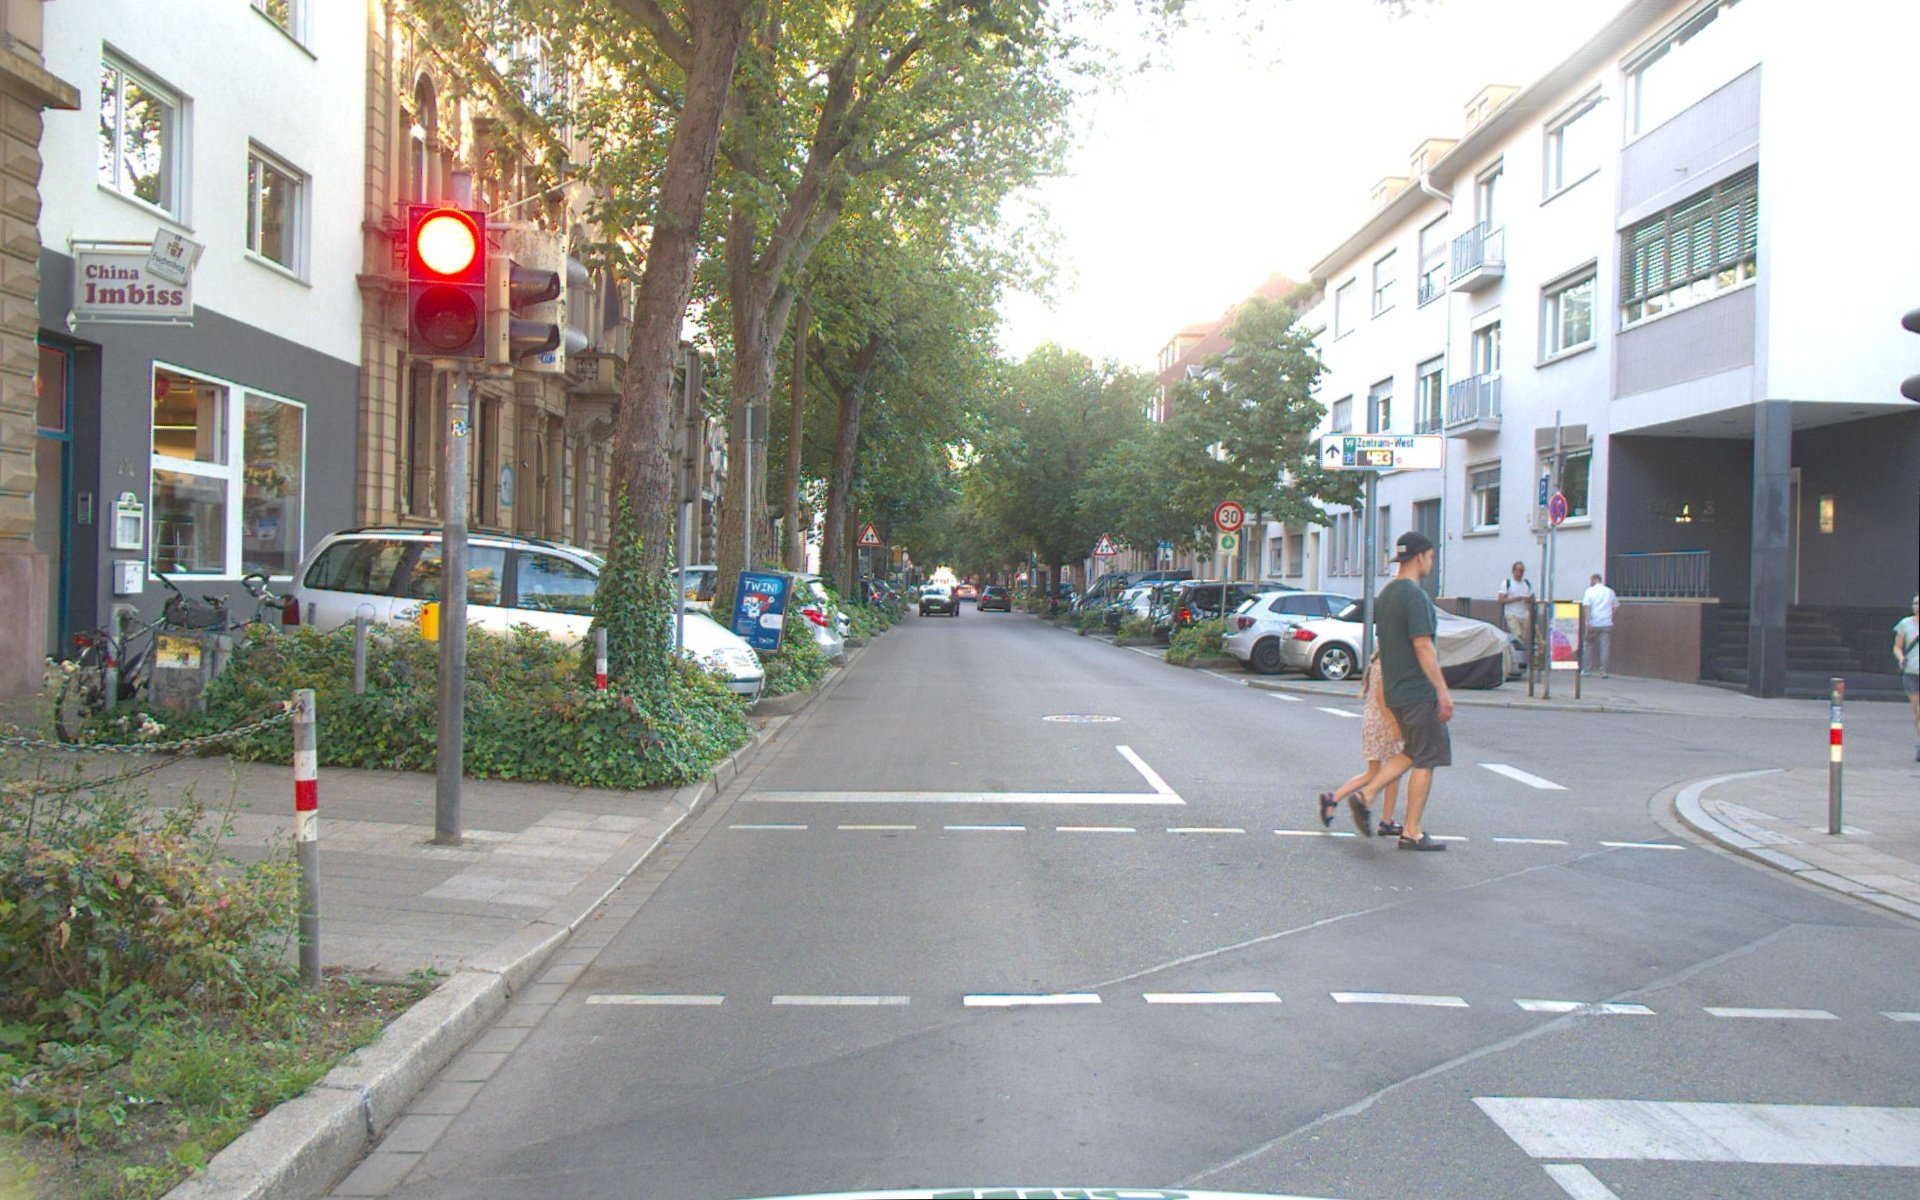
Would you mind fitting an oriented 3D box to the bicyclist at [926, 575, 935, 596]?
[{"bbox_3d":[-2.226,-1.069,123.431,0.560,1.495,0.642,2,0,-7],"label":"bicyclist"}]

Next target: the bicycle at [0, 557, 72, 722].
[{"bbox_3d":[-7.460,0.293,11.976,0.623,1.222,2.564,1,1,1],"label":"bicycle"}]

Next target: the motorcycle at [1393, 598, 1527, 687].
[{"bbox_3d":[7.154,0.598,23.716,1.761,1.220,0.613,1,0,8],"label":"motorcycle"}]

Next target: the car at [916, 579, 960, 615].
[{"bbox_3d":[-1.018,-0.167,79.044,1.864,1.605,3.992,2,0,2],"label":"car"}]

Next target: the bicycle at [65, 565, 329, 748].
[{"bbox_3d":[-5.666,0.366,12.513,0.719,1.207,2.634,3,1,0],"label":"bicycle"}]

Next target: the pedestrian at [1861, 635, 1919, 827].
[{"bbox_3d":[6.181,0.814,10.290,0.817,1.140,0.567,2,1,5],"label":"pedestrian"}]

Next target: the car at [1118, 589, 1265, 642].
[{"bbox_3d":[6.572,0.442,47.200,3.933,1.434,1.707,1,0,-1],"label":"car"}]

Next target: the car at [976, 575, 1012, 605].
[{"bbox_3d":[1.906,-0.571,93.825,1.788,1.588,4.026,2,1,-2],"label":"car"}]

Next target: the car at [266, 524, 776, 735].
[{"bbox_3d":[-4.086,0.268,16.011,4.457,1.867,1.832,1,0,-4],"label":"car"}]

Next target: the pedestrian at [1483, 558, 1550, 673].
[{"bbox_3d":[9.315,0.240,27.715,0.751,1.873,0.943,2,1,0],"label":"pedestrian"}]

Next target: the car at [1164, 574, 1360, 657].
[{"bbox_3d":[6.532,0.321,35.983,3.933,1.720,1.707,1,0,-1],"label":"car"}]

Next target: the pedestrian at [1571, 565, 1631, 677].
[{"bbox_3d":[10.511,0.336,27.137,0.689,1.782,0.700,2,1,3],"label":"pedestrian"}]

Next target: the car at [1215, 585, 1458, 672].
[{"bbox_3d":[6.667,0.483,29.558,3.933,1.467,1.707,1,0,-1],"label":"car"}]

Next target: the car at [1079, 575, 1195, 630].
[{"bbox_3d":[6.357,0.079,59.698,3.933,1.862,1.707,1,0,-1],"label":"car"}]

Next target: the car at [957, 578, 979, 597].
[{"bbox_3d":[0.678,-1.118,147.732,1.885,1.689,3.999,1,1,-1],"label":"car"}]

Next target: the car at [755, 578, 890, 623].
[{"bbox_3d":[-4.646,0.012,56.358,4.455,1.434,1.833,1,0,0],"label":"car"}]

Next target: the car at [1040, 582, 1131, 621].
[{"bbox_3d":[5.640,0.060,74.680,3.933,1.629,1.707,1,0,-1],"label":"car"}]

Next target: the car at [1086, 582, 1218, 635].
[{"bbox_3d":[6.050,0.257,52.384,3.933,1.556,1.707,1,0,-1],"label":"car"}]

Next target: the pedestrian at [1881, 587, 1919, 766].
[{"bbox_3d":[8.845,0.689,15.089,0.685,1.584,0.979,2,1,26],"label":"pedestrian"}]

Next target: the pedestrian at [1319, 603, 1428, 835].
[{"bbox_3d":[2.521,0.712,10.120,0.528,1.359,0.507,2,1,4],"label":"pedestrian"}]

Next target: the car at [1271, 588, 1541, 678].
[{"bbox_3d":[7.192,0.519,26.946,3.932,1.366,1.707,1,0,0],"label":"car"}]

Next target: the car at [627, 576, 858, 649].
[{"bbox_3d":[-4.390,0.238,33.847,4.455,1.396,1.833,1,0,0],"label":"car"}]

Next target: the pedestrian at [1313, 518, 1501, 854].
[{"bbox_3d":[2.569,0.473,9.602,0.869,1.847,0.794,1,1,4],"label":"pedestrian"}]

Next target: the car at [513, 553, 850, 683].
[{"bbox_3d":[-3.876,0.233,23.564,4.455,1.718,1.833,1,0,0],"label":"car"}]

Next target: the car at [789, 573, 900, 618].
[{"bbox_3d":[-4.776,-0.200,68.702,4.455,1.721,1.833,1,0,0],"label":"car"}]

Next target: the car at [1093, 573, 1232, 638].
[{"bbox_3d":[6.033,0.152,49.553,3.933,1.847,1.707,1,0,-1],"label":"car"}]
